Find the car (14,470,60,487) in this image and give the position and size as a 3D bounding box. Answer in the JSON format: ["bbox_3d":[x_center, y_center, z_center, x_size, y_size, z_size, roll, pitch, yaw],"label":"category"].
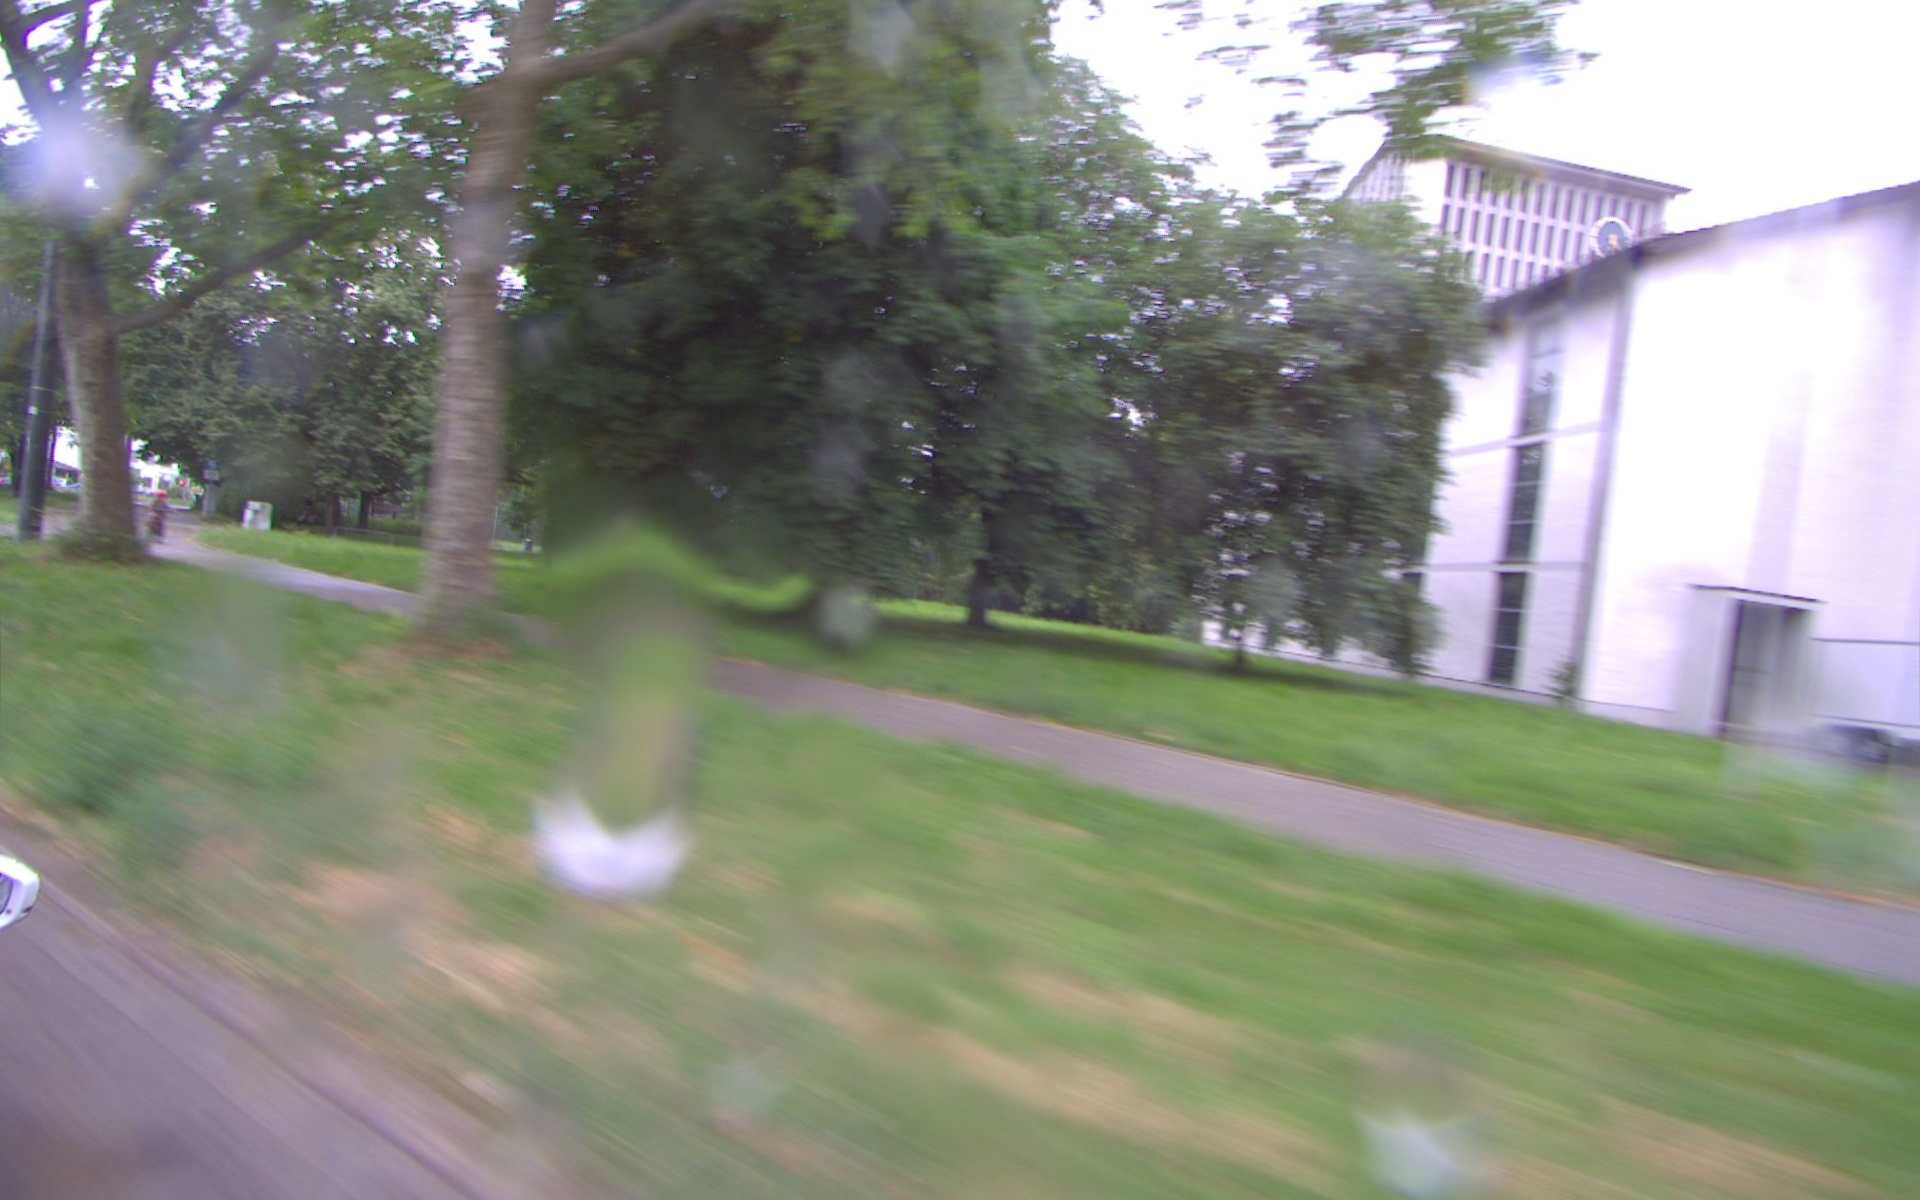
[{"bbox_3d":[-112.601,-14.788,122.825,3.717,1.460,1.750,6,1,-28],"label":"car"}]

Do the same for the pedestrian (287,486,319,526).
[{"bbox_3d":[-30.996,-4.416,47.480,1.022,1.716,0.849,6,2,-25],"label":"pedestrian"}]

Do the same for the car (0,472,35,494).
[{"bbox_3d":[-80.568,-10.008,85.714,3.753,1.438,1.684,8,2,33],"label":"car"}]

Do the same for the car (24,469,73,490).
[{"bbox_3d":[-114.023,-15.088,125.922,4.094,1.883,1.663,6,1,-24],"label":"car"}]

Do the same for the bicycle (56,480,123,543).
[{"bbox_3d":[-18.626,-1.898,21.506,1.943,1.157,0.710,9,2,40],"label":"bicycle"}]

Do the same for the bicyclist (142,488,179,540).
[{"bbox_3d":[-17.748,-1.902,22.328,0.583,1.052,0.486,10,3,40],"label":"bicyclist"}]

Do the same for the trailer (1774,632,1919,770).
[{"bbox_3d":[18.342,1.999,19.140,1.860,2.338,4.012,7,1,-8],"label":"trailer"}]

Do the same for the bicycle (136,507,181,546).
[{"bbox_3d":[-17.875,-1.644,22.416,1.436,0.718,0.486,10,3,41],"label":"bicycle"}]

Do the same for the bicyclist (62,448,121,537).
[{"bbox_3d":[-18.503,-2.287,21.432,0.943,1.743,0.710,9,3,39],"label":"bicyclist"}]
